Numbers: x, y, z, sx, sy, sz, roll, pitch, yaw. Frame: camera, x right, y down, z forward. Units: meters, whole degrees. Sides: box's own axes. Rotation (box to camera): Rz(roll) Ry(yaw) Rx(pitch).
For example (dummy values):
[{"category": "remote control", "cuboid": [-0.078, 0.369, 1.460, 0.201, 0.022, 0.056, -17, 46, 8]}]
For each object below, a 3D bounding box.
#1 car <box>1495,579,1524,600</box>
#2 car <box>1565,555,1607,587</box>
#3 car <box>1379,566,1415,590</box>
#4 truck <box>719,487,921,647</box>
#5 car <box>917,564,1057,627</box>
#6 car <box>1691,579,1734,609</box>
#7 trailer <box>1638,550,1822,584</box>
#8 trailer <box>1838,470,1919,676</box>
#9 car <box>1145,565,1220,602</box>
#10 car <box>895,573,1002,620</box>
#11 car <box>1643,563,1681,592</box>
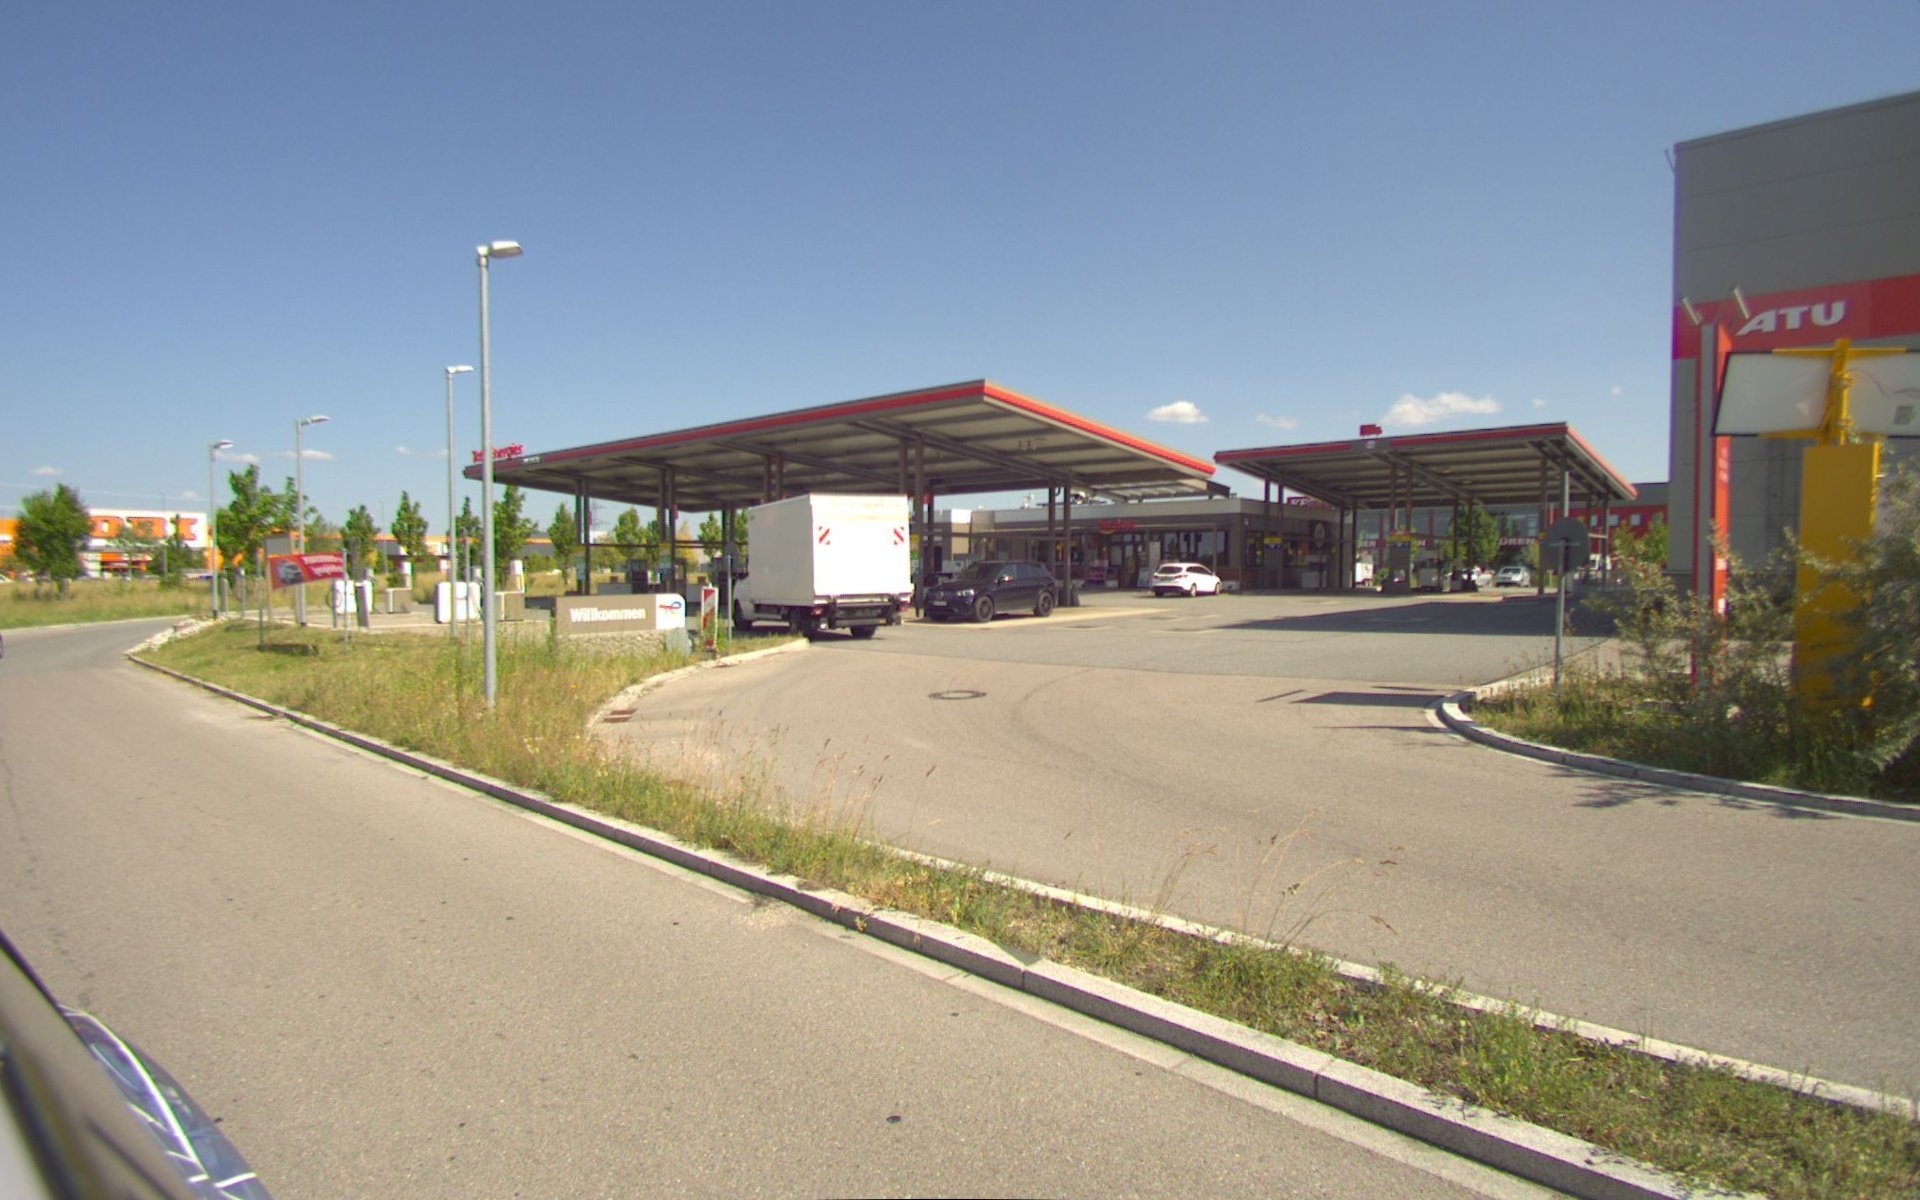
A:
[{"category": "car", "cuboid": [41.686, -0.829, 76.729, 1.596, 1.521, 3.558, -1, 1, 34]}, {"category": "car", "cuboid": [45.486, -2.084, 73.469, 2.382, 2.204, 5.418, -1, 1, 34]}, {"category": "car", "cuboid": [40.614, -2.055, 93.977, 2.379, 2.204, 5.424, -1, 1, 31]}, {"category": "truck", "cuboid": [-3.668, -0.738, 24.760, 2.596, 3.343, 6.928, -2, 1, -28]}, {"category": "car", "cuboid": [0.884, -0.178, 30.400, 1.795, 1.771, 4.461, -1, 1, 40]}, {"category": "car", "cuboid": [58.666, -0.495, 78.963, 2.382, 2.204, 5.418, -1, 1, 34]}, {"category": "trailer", "cuboid": [70.216, -2.942, 92.723, 13.188, 2.780, 2.353, 0, 1, 44]}, {"category": "trailer", "cuboid": [10.384, -0.274, 9.289, 1.975, 2.029, 3.201, -1, 1, 5]}, {"category": "car", "cuboid": [9.869, -0.739, 44.691, 1.792, 1.541, 3.952, -1, 1, 36]}, {"category": "car", "cuboid": [-0.377, -0.142, 36.613, 1.697, 1.586, 3.883, -1, 1, 41]}, {"category": "car", "cuboid": [56.039, -1.778, 80.888, 2.382, 2.204, 5.418, -1, 1, 34]}]
